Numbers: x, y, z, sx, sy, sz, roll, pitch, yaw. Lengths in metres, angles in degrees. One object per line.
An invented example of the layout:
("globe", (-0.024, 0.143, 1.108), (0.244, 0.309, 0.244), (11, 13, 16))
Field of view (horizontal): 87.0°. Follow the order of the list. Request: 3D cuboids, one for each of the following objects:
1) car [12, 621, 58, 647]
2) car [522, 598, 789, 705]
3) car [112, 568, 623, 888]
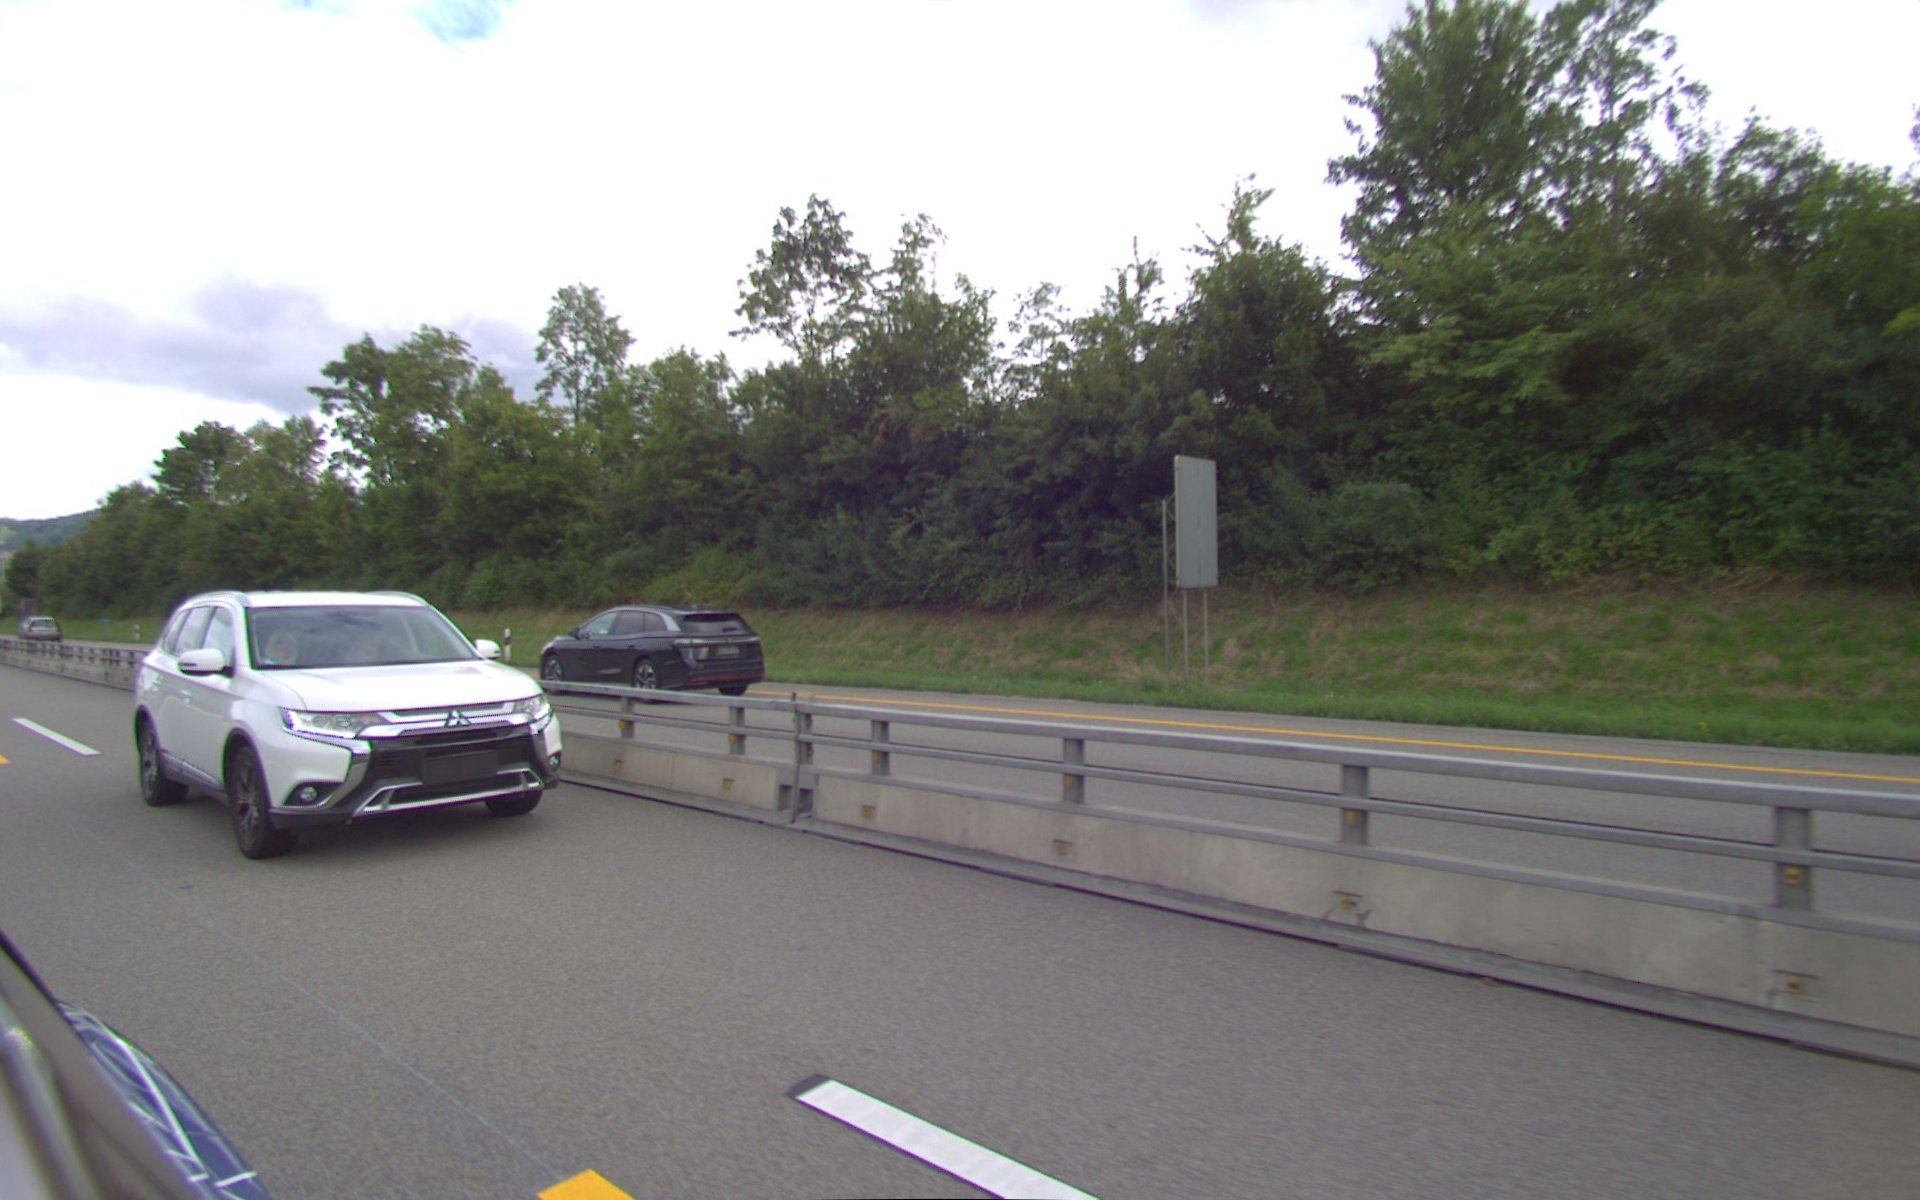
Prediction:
("car", (-57.726, 2.100, 63.141), (3.947, 1.562, 1.664), (-1, -2, 41))
("car", (-5.260, 0.787, 17.086), (5.022, 1.535, 1.973), (-1, 0, 42))
("car", (-4.582, 0.698, 7.480), (4.606, 1.640, 1.972), (-1, -1, 42))
